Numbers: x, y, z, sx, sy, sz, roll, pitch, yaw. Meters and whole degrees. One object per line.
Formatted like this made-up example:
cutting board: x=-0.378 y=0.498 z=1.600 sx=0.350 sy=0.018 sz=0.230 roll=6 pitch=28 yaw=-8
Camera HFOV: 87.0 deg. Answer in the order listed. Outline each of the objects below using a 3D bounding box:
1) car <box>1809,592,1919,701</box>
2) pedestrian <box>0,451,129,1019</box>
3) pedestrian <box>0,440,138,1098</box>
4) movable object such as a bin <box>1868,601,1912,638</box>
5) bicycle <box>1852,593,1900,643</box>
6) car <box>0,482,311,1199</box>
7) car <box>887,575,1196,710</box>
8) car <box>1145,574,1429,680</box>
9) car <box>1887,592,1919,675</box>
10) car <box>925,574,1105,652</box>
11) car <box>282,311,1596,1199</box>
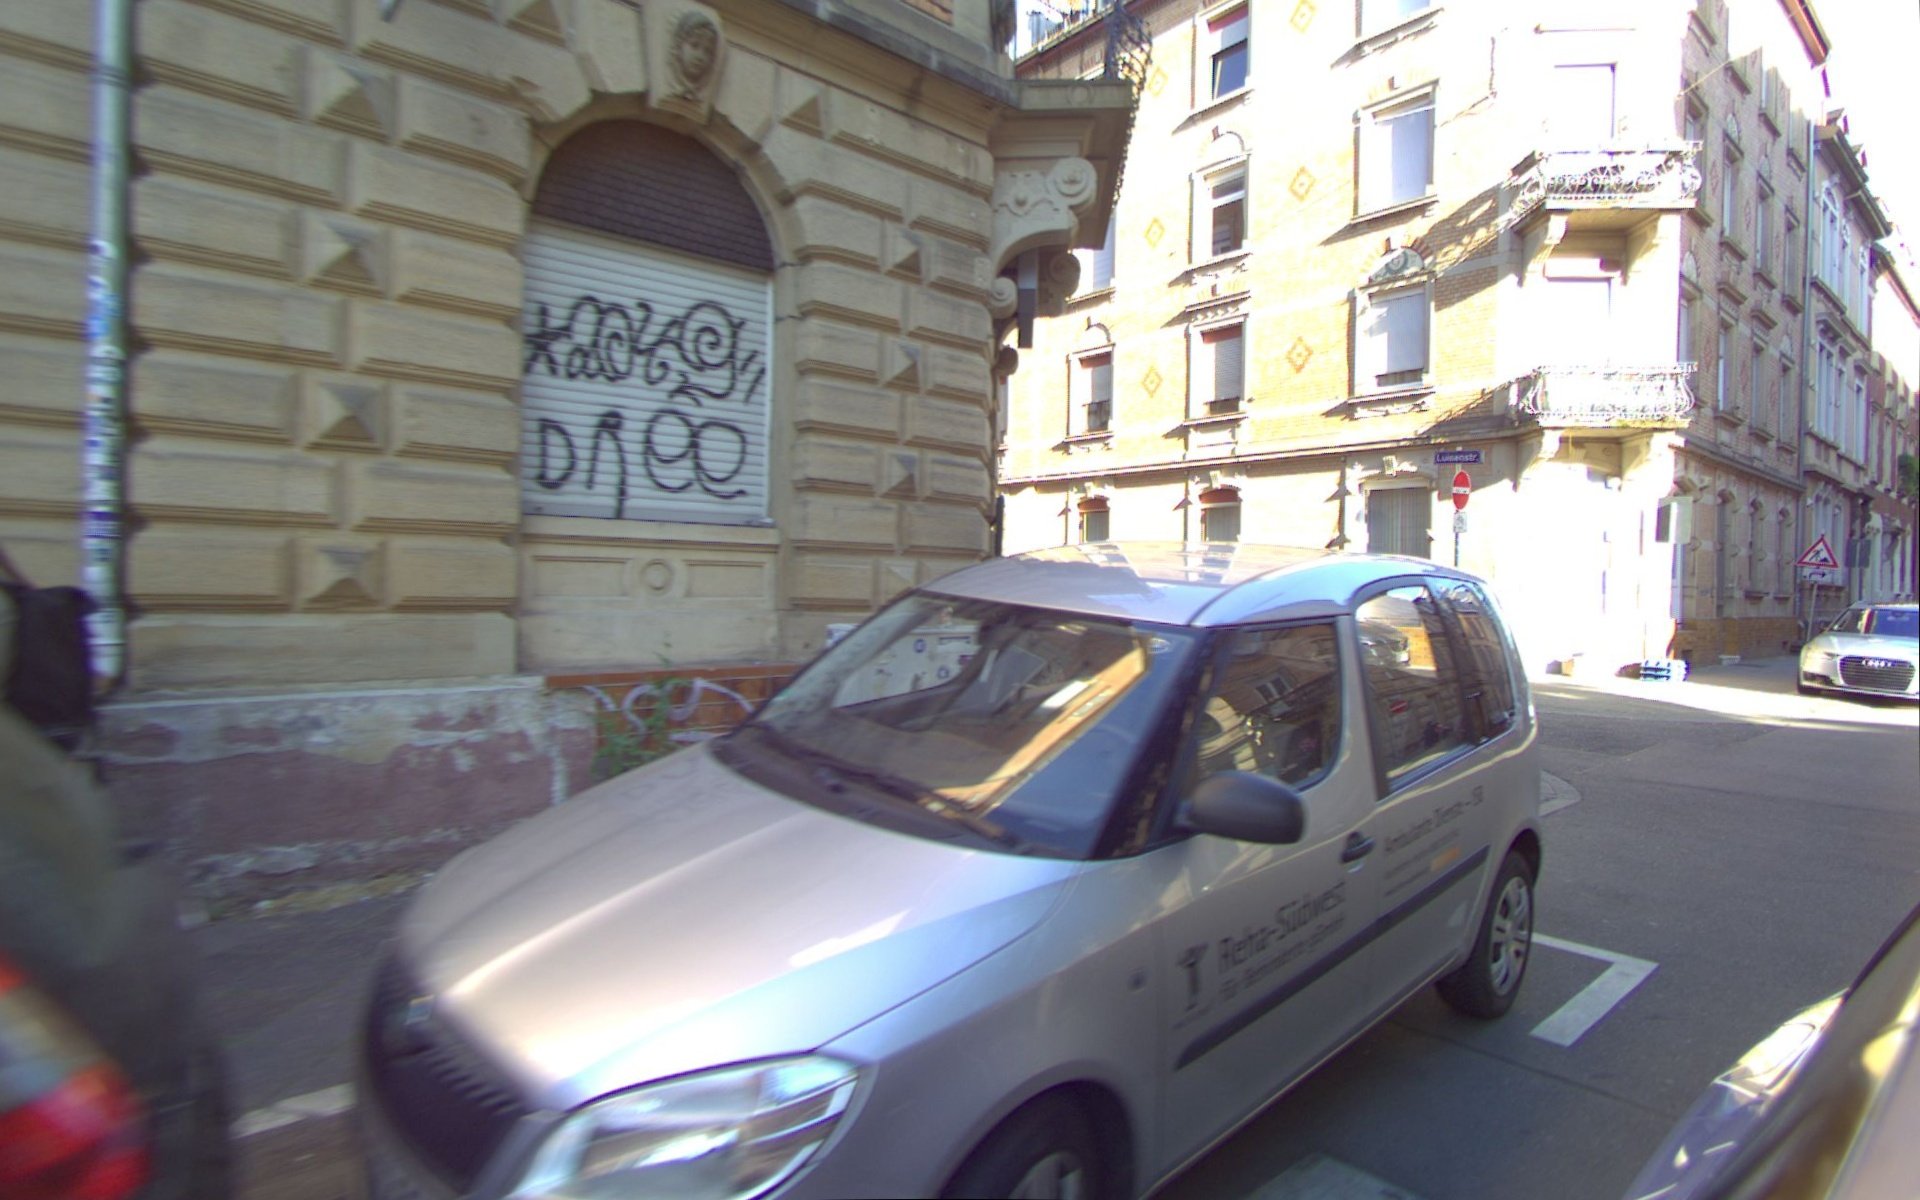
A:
car: x=14.425 y=0.625 z=15.292 sx=4.431 sy=1.477 sz=1.709 roll=0 pitch=-1 yaw=-40
pedestrian: x=-3.025 y=0.384 z=3.076 sx=0.722 sy=1.642 sz=0.575 roll=1 pitch=1 yaw=-42
pedestrian: x=-2.639 y=0.410 z=2.640 sx=0.715 sy=1.624 sz=0.591 roll=1 pitch=1 yaw=-42
movable object such as a bin: x=28.375 y=0.581 z=30.881 sx=0.710 sy=1.074 sz=0.897 roll=0 pitch=3 yaw=-42
bicycle: x=25.823 y=0.495 z=28.515 sx=1.662 sy=1.319 sz=0.729 roll=0 pitch=3 yaw=-40
car: x=-2.543 y=0.640 z=0.427 sx=3.619 sy=1.532 sz=1.537 roll=0 pitch=1 yaw=-43
car: x=0.902 y=0.450 z=13.083 sx=1.702 sy=1.470 sz=3.989 roll=1 pitch=0 yaw=-39
car: x=5.420 y=0.353 z=17.131 sx=4.241 sy=1.488 sz=1.742 roll=1 pitch=5 yaw=44
car: x=18.902 y=0.620 z=19.052 sx=3.818 sy=1.498 sz=1.670 roll=1 pitch=0 yaw=-40
car: x=1.105 y=0.197 z=21.984 sx=1.562 sy=1.456 sz=3.995 roll=-4 pitch=4 yaw=-40
car: x=0.371 y=0.518 z=3.108 sx=3.871 sy=1.735 sz=1.706 roll=0 pitch=1 yaw=-43
